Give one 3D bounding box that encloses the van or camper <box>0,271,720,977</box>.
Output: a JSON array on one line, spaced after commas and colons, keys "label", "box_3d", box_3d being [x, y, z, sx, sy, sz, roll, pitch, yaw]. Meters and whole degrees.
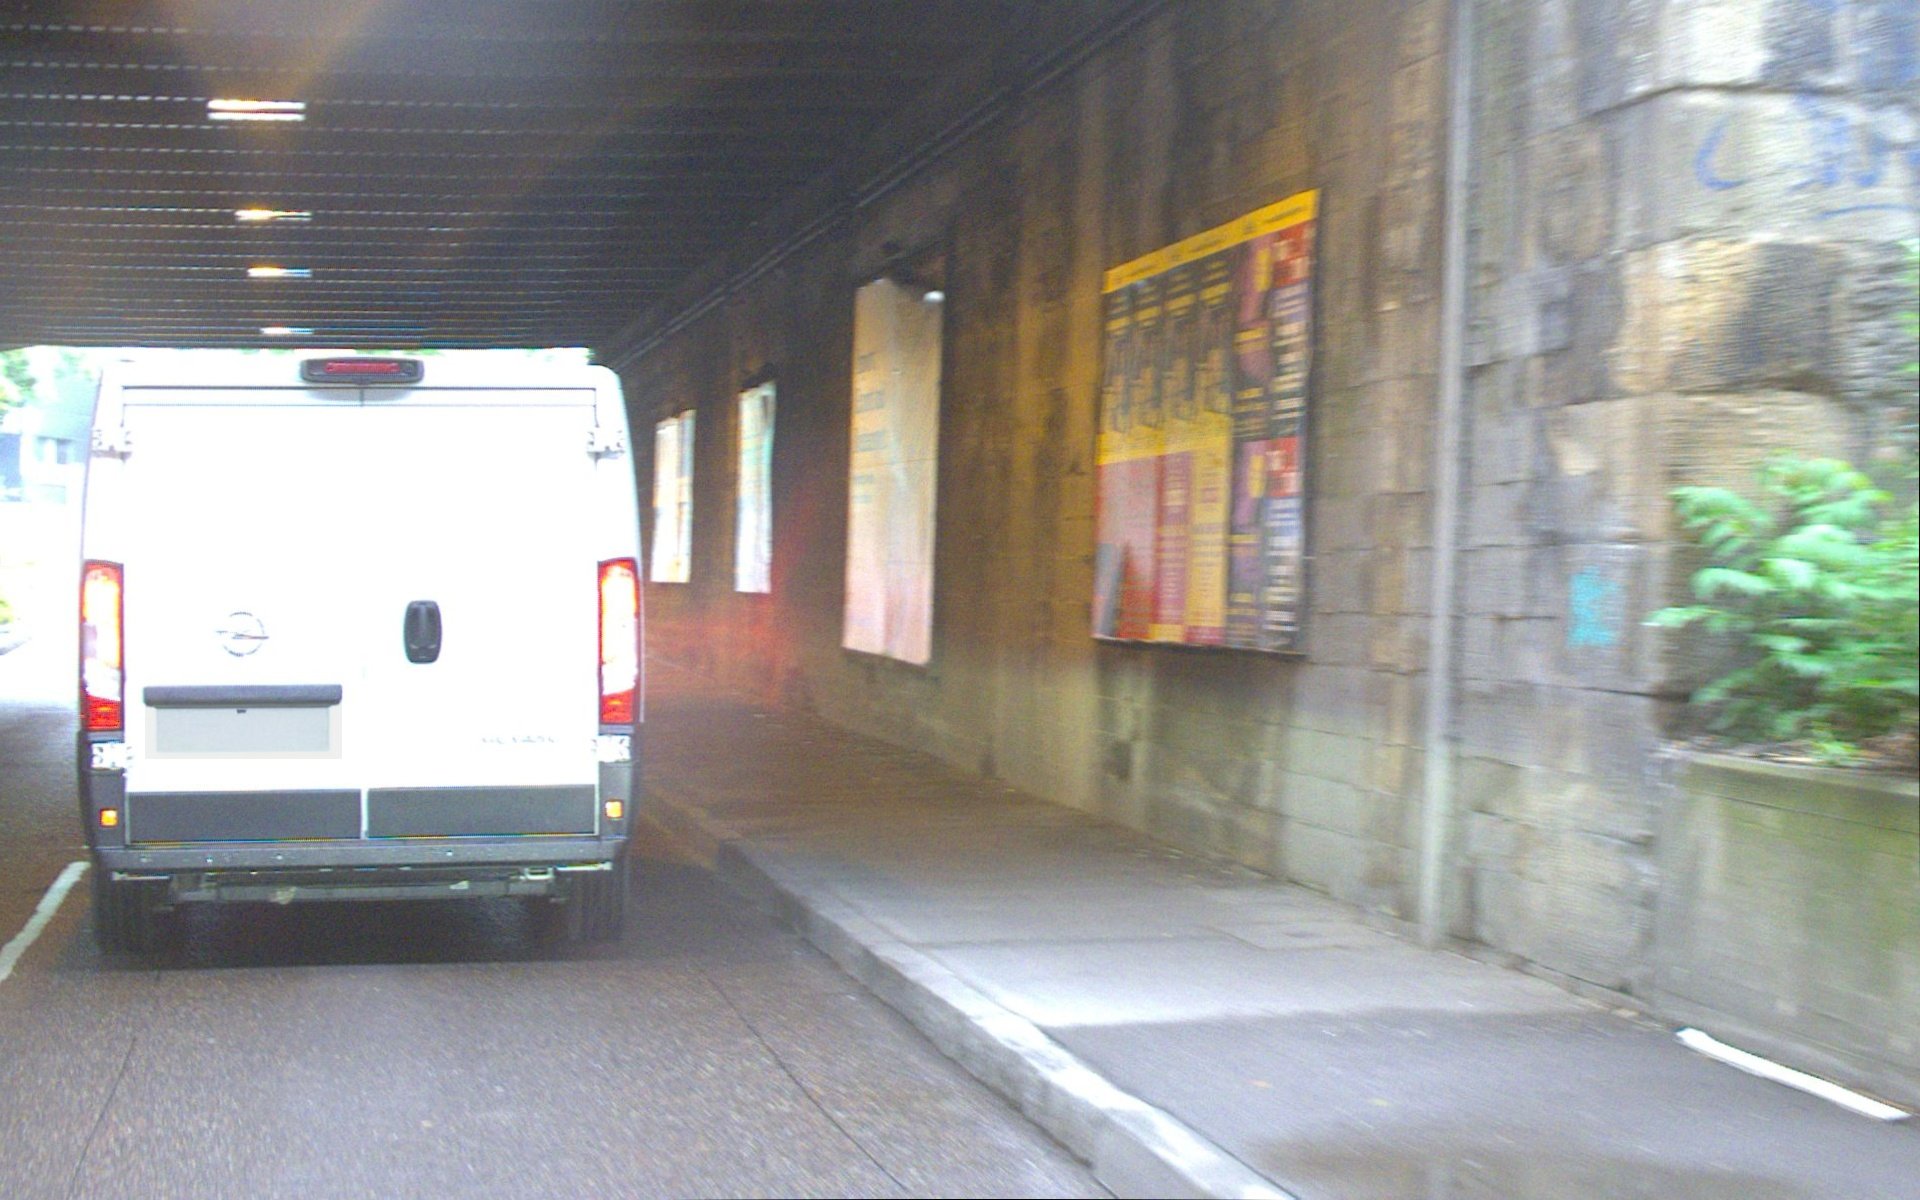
[{"label": "van or camper", "box_3d": [-2.590, 0.118, 14.342, 2.697, 2.408, 4.904, 0, -1, -10]}]
